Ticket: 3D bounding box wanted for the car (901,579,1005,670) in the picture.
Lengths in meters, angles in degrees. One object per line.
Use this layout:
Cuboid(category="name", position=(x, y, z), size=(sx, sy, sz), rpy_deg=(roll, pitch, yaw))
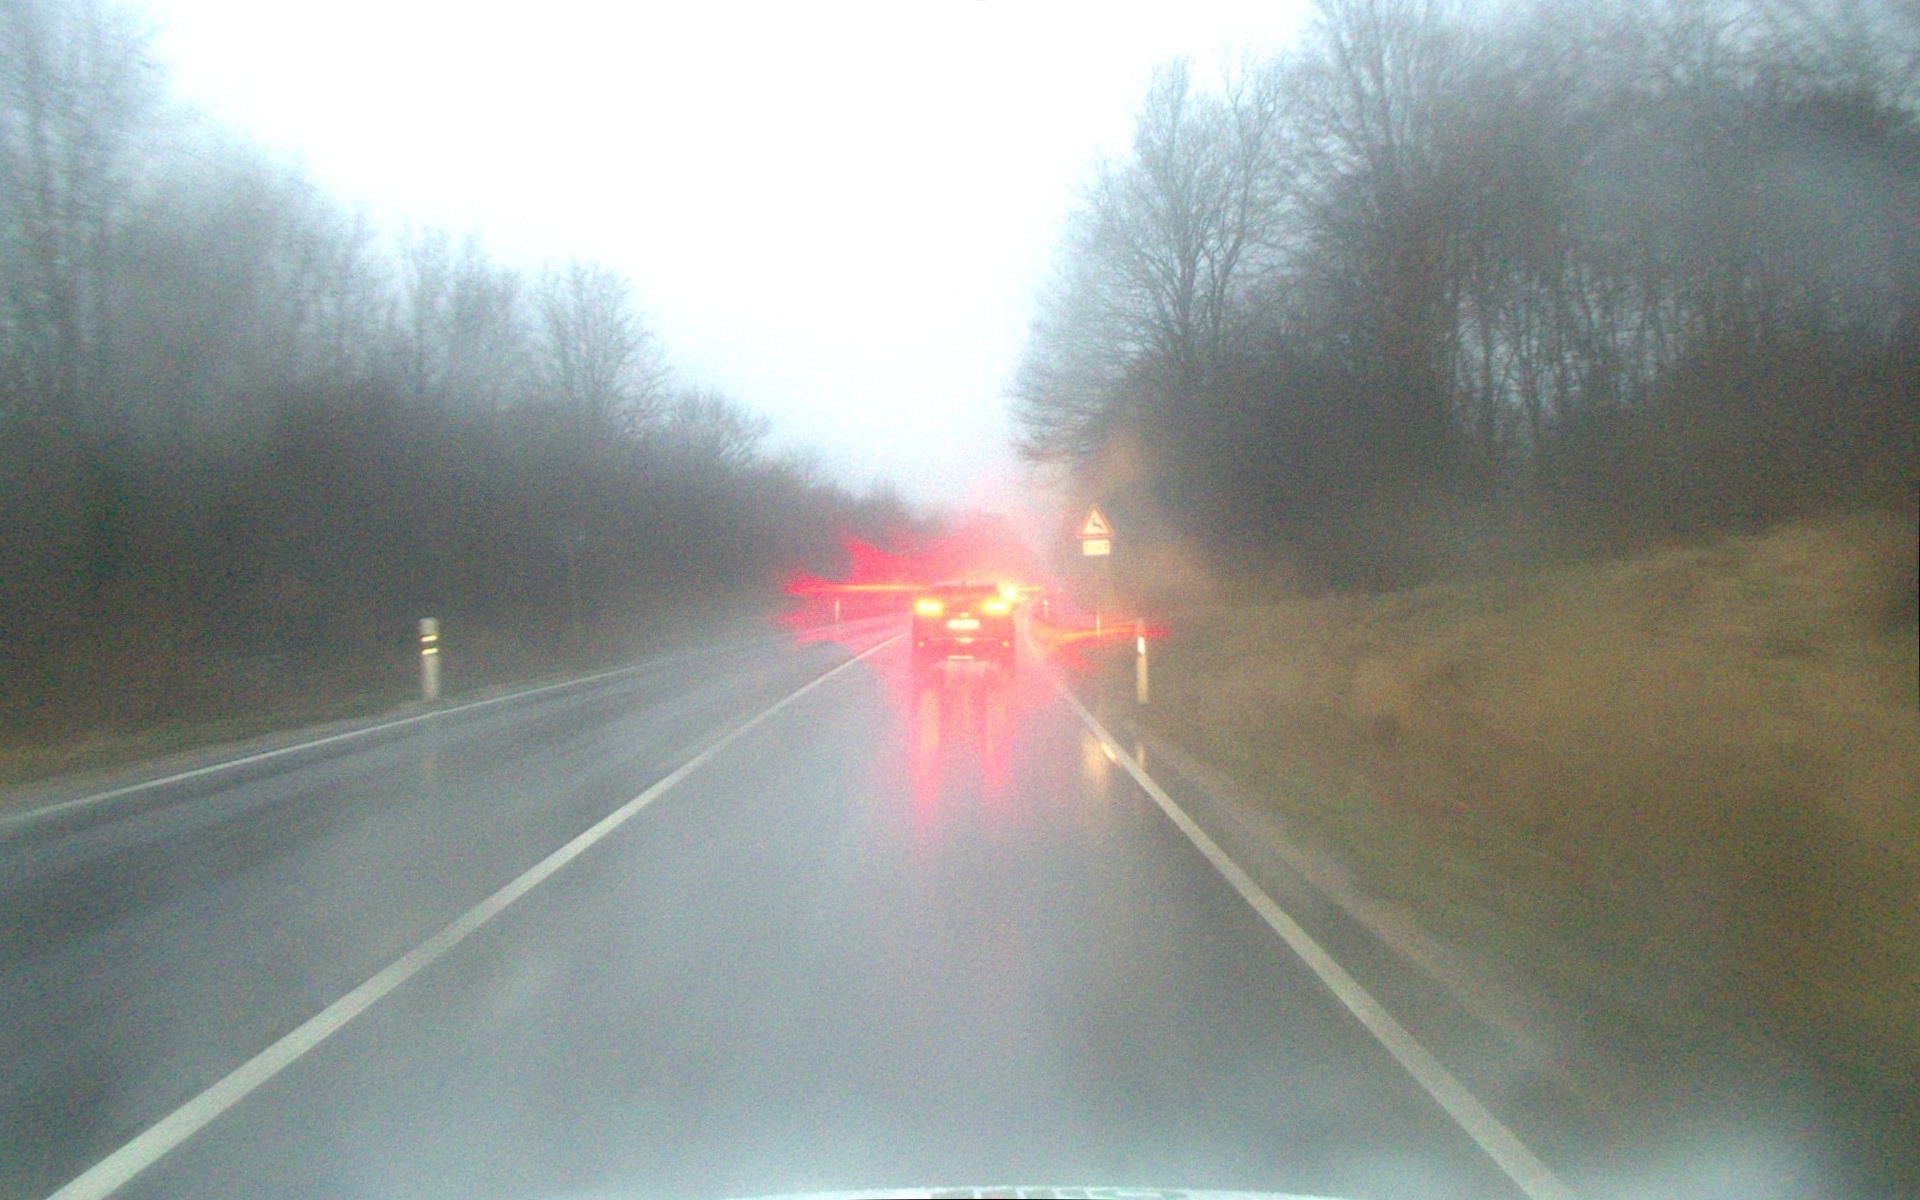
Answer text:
Cuboid(category="car", position=(-0.115, 0.375, 28.843), size=(1.644, 1.414, 4.098), rpy_deg=(-2, 0, 0))
